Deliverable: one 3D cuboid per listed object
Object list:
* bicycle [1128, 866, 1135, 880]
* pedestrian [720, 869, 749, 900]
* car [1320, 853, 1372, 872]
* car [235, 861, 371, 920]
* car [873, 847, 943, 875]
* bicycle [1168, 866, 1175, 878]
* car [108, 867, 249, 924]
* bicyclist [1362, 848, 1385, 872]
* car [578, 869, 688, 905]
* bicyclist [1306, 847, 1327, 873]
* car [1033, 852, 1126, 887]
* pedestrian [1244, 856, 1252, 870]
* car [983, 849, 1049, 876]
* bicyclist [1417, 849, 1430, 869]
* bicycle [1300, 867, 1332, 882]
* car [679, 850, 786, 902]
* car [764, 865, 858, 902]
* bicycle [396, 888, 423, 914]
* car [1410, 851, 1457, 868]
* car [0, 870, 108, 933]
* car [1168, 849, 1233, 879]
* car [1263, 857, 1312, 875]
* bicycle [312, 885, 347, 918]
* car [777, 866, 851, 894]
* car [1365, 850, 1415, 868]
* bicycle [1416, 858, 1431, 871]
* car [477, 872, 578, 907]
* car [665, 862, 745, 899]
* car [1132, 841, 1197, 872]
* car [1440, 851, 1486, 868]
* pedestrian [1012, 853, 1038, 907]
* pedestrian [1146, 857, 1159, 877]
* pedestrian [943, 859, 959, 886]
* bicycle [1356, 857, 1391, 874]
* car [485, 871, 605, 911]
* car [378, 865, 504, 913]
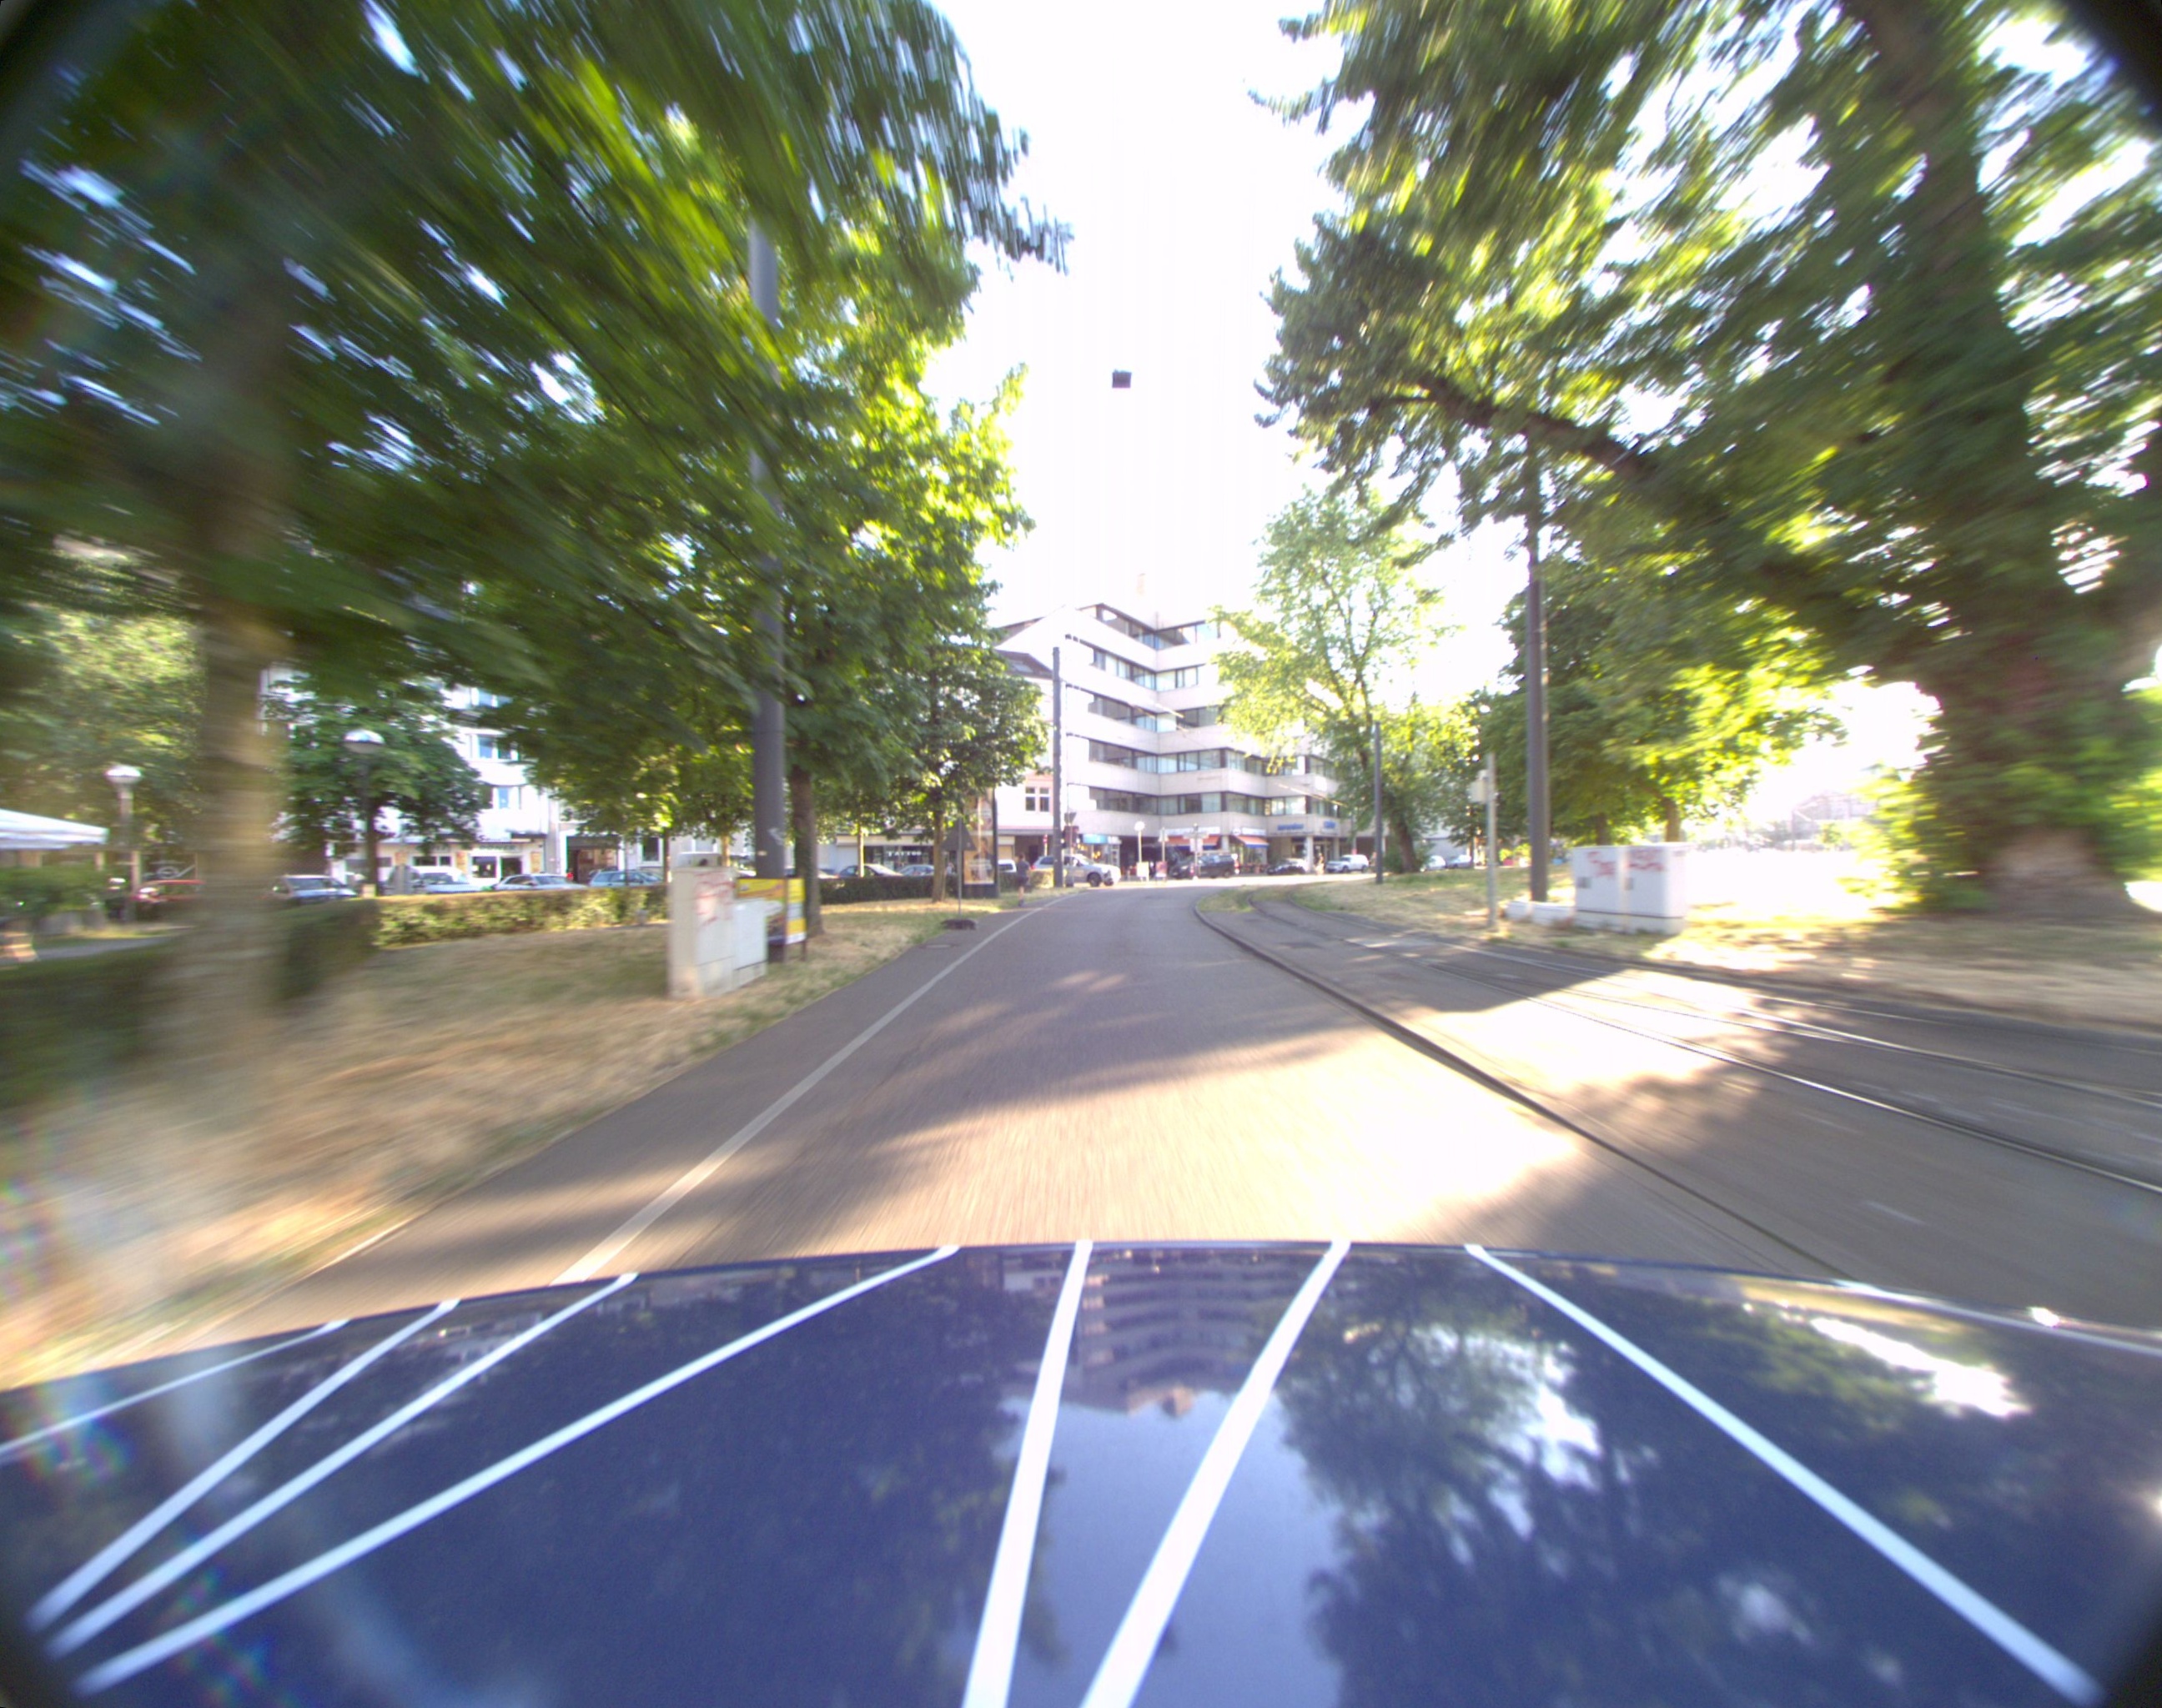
[{"bbox_3d":[3.848,1.433,57.925,0.302,0.987,1.294,-2,0,-3],"label":"bicycle"},{"bbox_3d":[-14.260,1.240,31.231,0.962,1.218,1.368,-2,0,-28],"label":"pedestrian"},{"bbox_3d":[24.852,0.776,71.178,4.529,1.596,1.996,-2,0,-27],"label":"car"},{"bbox_3d":[-28.659,1.327,28.002,3.991,2.002,2.003,-2,0,20],"label":"car"},{"bbox_3d":[-11.304,0.445,49.655,4.006,1.631,1.995,-2,3,-29],"label":"car"},{"bbox_3d":[7.262,1.422,60.768,0.302,0.987,1.294,-2,0,-3],"label":"bicycle"},{"bbox_3d":[-30.485,1.408,25.671,3.991,1.763,1.916,-2,0,23],"label":"car"},{"bbox_3d":[24.776,0.534,64.293,1.369,1.980,1.233,-2,1,-38],"label":"bicyclist"},{"bbox_3d":[-19.567,1.428,33.224,3.991,1.390,2.003,-2,0,19],"label":"car"},{"bbox_3d":[17.631,0.459,56.889,1.115,1.962,0.923,-2,0,-27],"label":"bicyclist"},{"bbox_3d":[-0.089,0.861,41.826,4.698,1.761,2.004,-2,0,27],"label":"car"},{"bbox_3d":[15.901,0.828,72.172,0.610,1.313,0.592,-1,1,27],"label":"pedestrian"},{"bbox_3d":[-4.569,0.563,53.662,4.236,1.774,1.927,-2,2,-31],"label":"car"},{"bbox_3d":[30.904,0.450,68.508,0.859,1.772,0.988,0,1,37],"label":"bicyclist"},{"bbox_3d":[17.613,1.533,56.869,2.224,1.070,0.934,-2,0,-27],"label":"bicycle"},{"bbox_3d":[-16.032,1.030,34.893,4.868,2.227,2.098,-2,0,32],"label":"car"},{"bbox_3d":[-12.908,1.403,36.293,3.990,1.595,1.956,-2,0,26],"label":"car"},{"bbox_3d":[-22.154,1.547,25.086,0.447,0.775,1.272,-1,1,-32],"label":"bicycle"},{"bbox_3d":[35.816,0.542,77.227,4.529,1.596,1.996,-2,0,-27],"label":"car"},{"bbox_3d":[-32.505,1.465,24.053,3.989,1.763,1.916,-2,0,40],"label":"car"},{"bbox_3d":[9.031,0.742,57.518,4.529,2.143,1.996,-2,0,-27],"label":"car"},{"bbox_3d":[18.140,1.015,66.716,4.006,1.433,1.791,-2,0,-29],"label":"car"},{"bbox_3d":[-24.606,1.537,24.901,0.325,0.990,1.471,-1,1,-26],"label":"bicycle"},{"bbox_3d":[-16.366,1.548,46.636,4.006,1.484,1.820,-2,2,-31],"label":"car"},{"bbox_3d":[29.955,0.511,73.735,4.529,1.596,1.996,-2,0,-27],"label":"car"},{"bbox_3d":[30.857,0.948,68.465,0.871,1.090,1.854,-2,0,37],"label":"bicycle"},{"bbox_3d":[-28.727,1.807,39.632,4.006,1.488,1.947,-2,2,-29],"label":"car"},{"bbox_3d":[-21.556,1.482,43.588,4.006,1.875,1.947,-2,2,-29],"label":"car"},{"bbox_3d":[7.502,0.201,68.725,5.419,2.711,2.186,0,1,33],"label":"car"},{"bbox_3d":[40.020,0.548,79.598,4.529,1.596,1.996,-2,0,-27],"label":"car"},{"bbox_3d":[-1.859,0.856,25.214,0.587,1.733,0.644,-1,0,24],"label":"pedestrian"},{"bbox_3d":[5.748,1.052,61.227,0.794,1.528,0.568,-2,2,-26],"label":"pedestrian"},{"bbox_3d":[-8.771,1.232,51.255,0.796,1.789,0.637,-2,0,-31],"label":"pedestrian"},{"bbox_3d":[24.758,0.984,64.352,3.247,1.353,1.269,-2,0,-38],"label":"bicycle"},{"bbox_3d":[-21.911,1.511,31.098,3.991,1.477,2.003,-2,0,19],"label":"car"},{"bbox_3d":[-24.901,1.367,29.574,3.991,1.696,2.003,-2,0,20],"label":"car"}]
